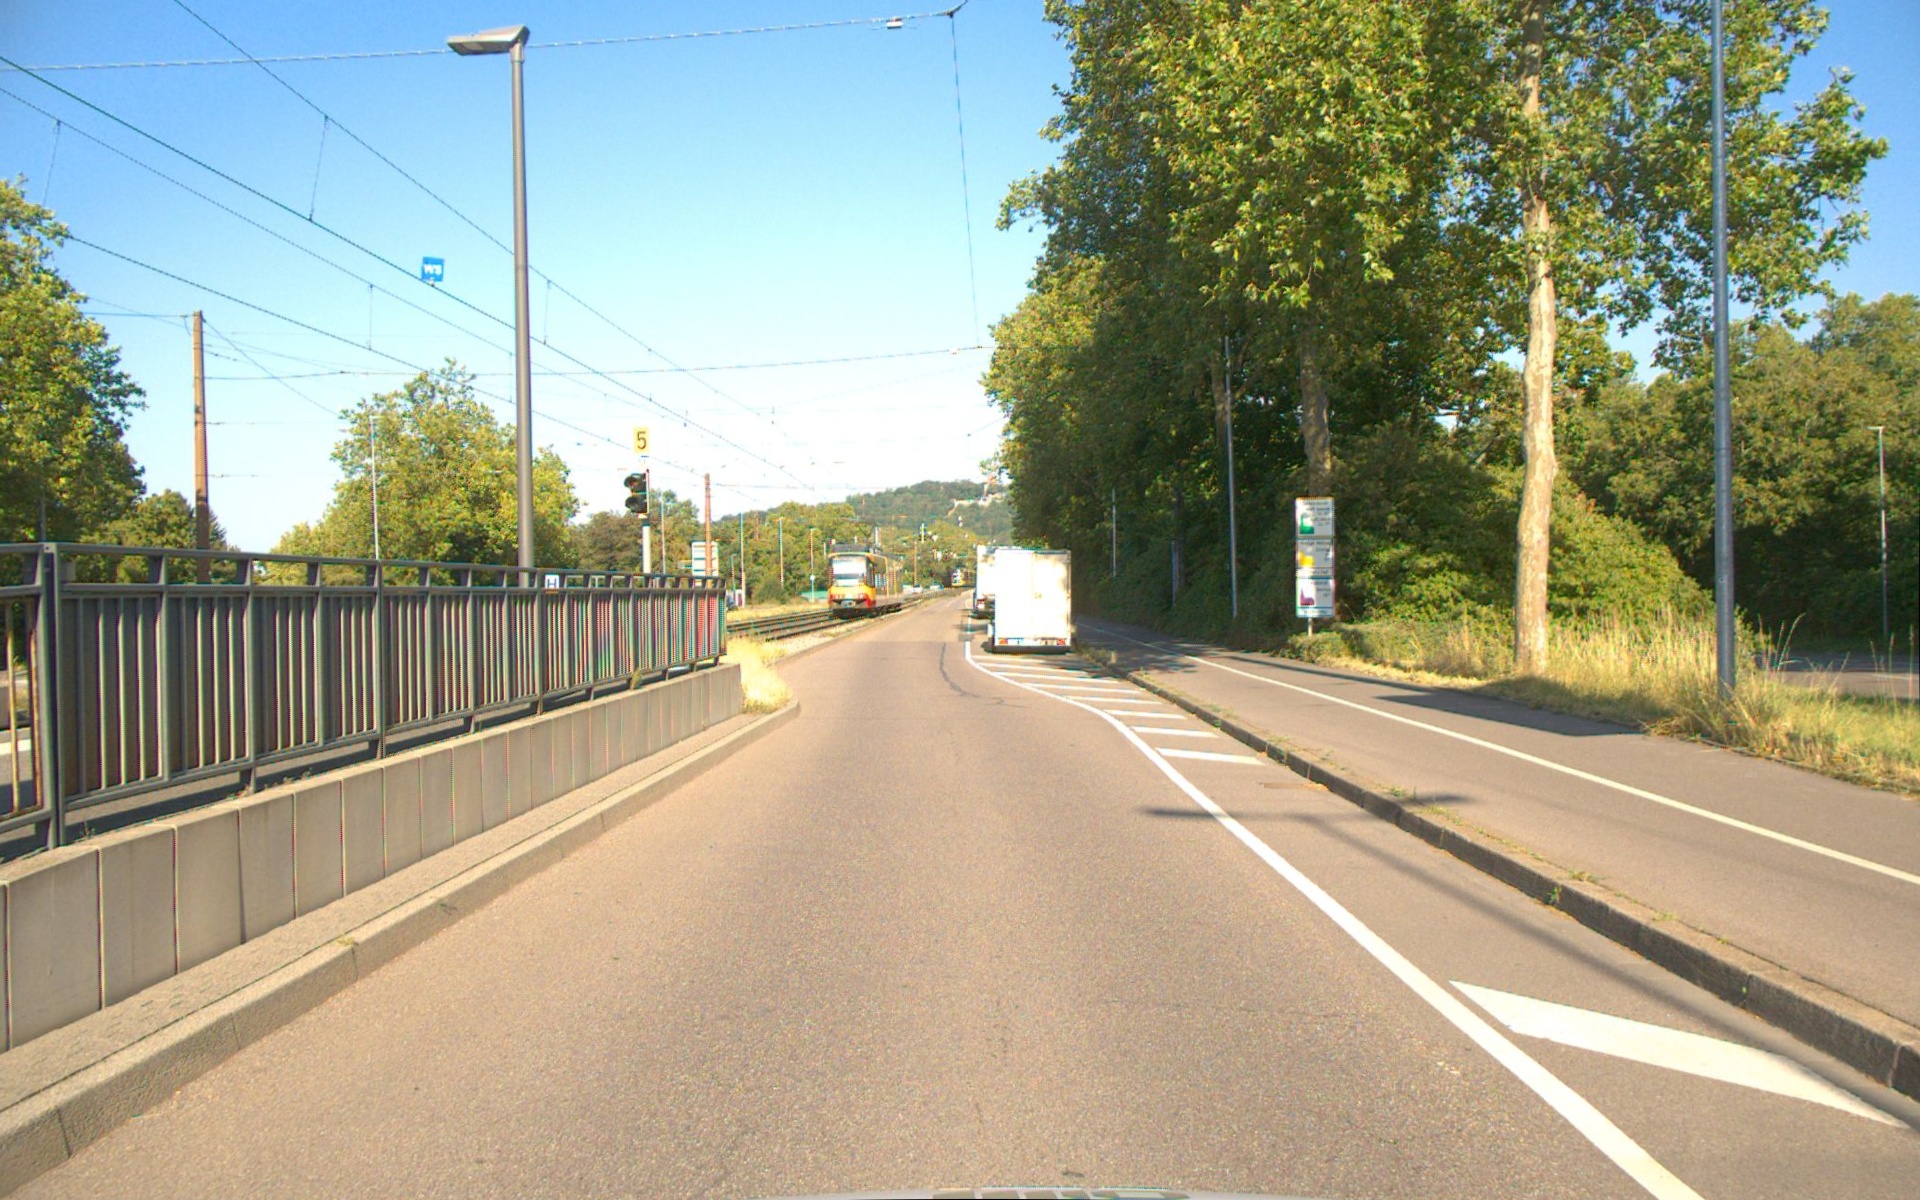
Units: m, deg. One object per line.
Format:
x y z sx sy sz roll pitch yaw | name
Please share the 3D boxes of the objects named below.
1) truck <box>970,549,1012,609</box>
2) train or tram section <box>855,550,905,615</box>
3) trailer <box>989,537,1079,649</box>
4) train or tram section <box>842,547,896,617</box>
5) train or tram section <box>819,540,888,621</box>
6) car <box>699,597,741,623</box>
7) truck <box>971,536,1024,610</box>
2.020 -1.380 111.191 2.661 3.849 9.761 1 0 0 | truck
-5.506 -1.205 115.848 2.663 4.160 12.814 -2 0 1 | train or tram section
2.005 -0.196 43.881 2.204 2.742 5.949 0 0 3 | trailer
-5.680 -1.128 104.468 2.639 4.160 9.911 -2 0 1 | train or tram section
-5.826 -1.069 92.731 2.665 4.162 13.617 -2 0 1 | train or tram section
-14.463 0.571 99.882 1.737 1.450 4.490 -1 0 1 | car
2.002 -1.480 91.977 2.685 3.849 10.089 1 0 0 | truck
